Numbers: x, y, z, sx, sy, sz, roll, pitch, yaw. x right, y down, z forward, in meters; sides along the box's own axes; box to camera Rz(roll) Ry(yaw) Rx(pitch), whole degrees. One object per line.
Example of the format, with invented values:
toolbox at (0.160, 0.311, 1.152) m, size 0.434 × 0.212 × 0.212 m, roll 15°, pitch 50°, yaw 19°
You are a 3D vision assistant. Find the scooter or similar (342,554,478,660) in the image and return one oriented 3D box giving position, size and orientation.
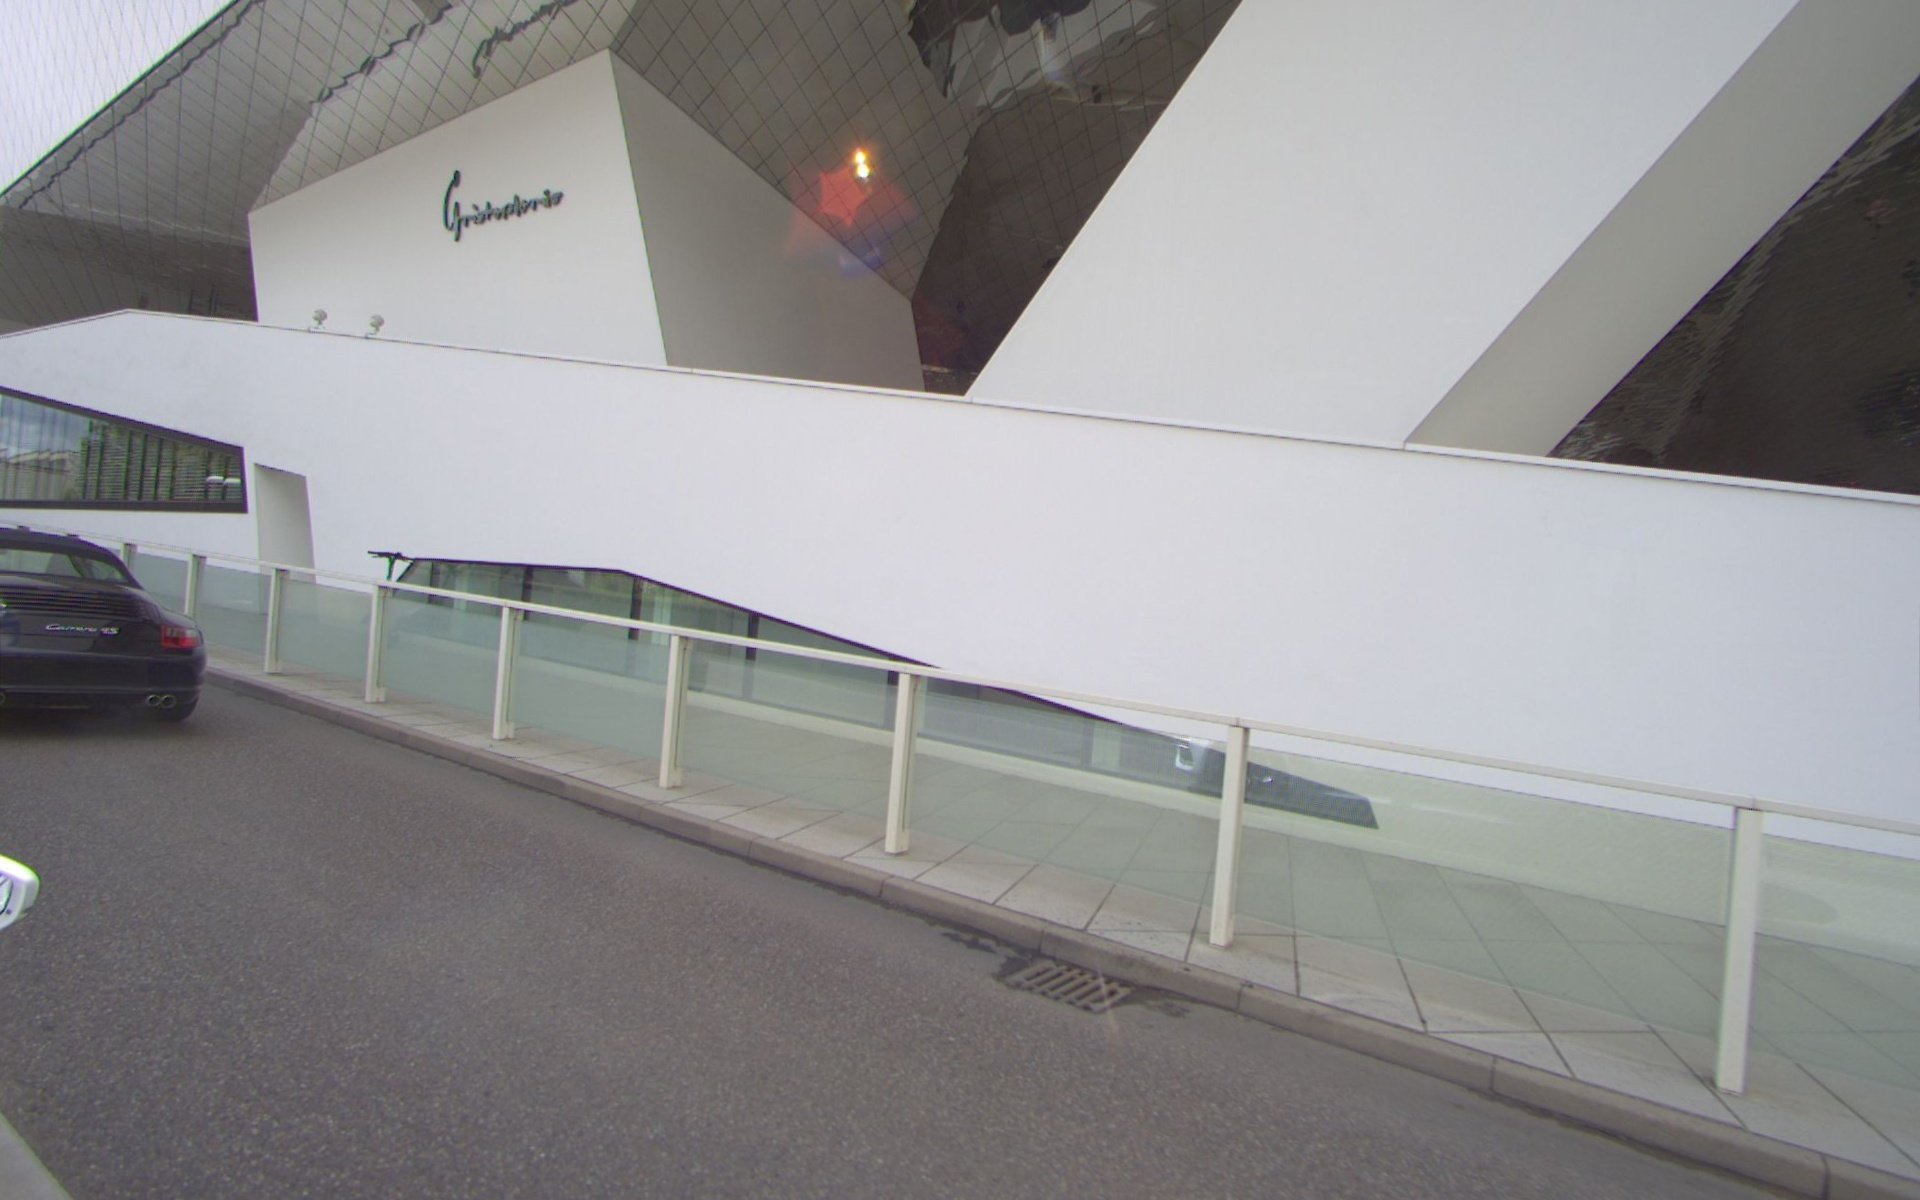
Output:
scooter or similar at (-7.621, 0.088, 13.913) m, size 1.921 × 1.258 × 0.707 m, roll 5°, pitch -1°, yaw 33°

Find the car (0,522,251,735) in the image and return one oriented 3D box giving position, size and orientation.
car at (-7.273, 0.060, 7.547) m, size 4.021 × 1.290 × 1.722 m, roll 5°, pitch -2°, yaw 33°
